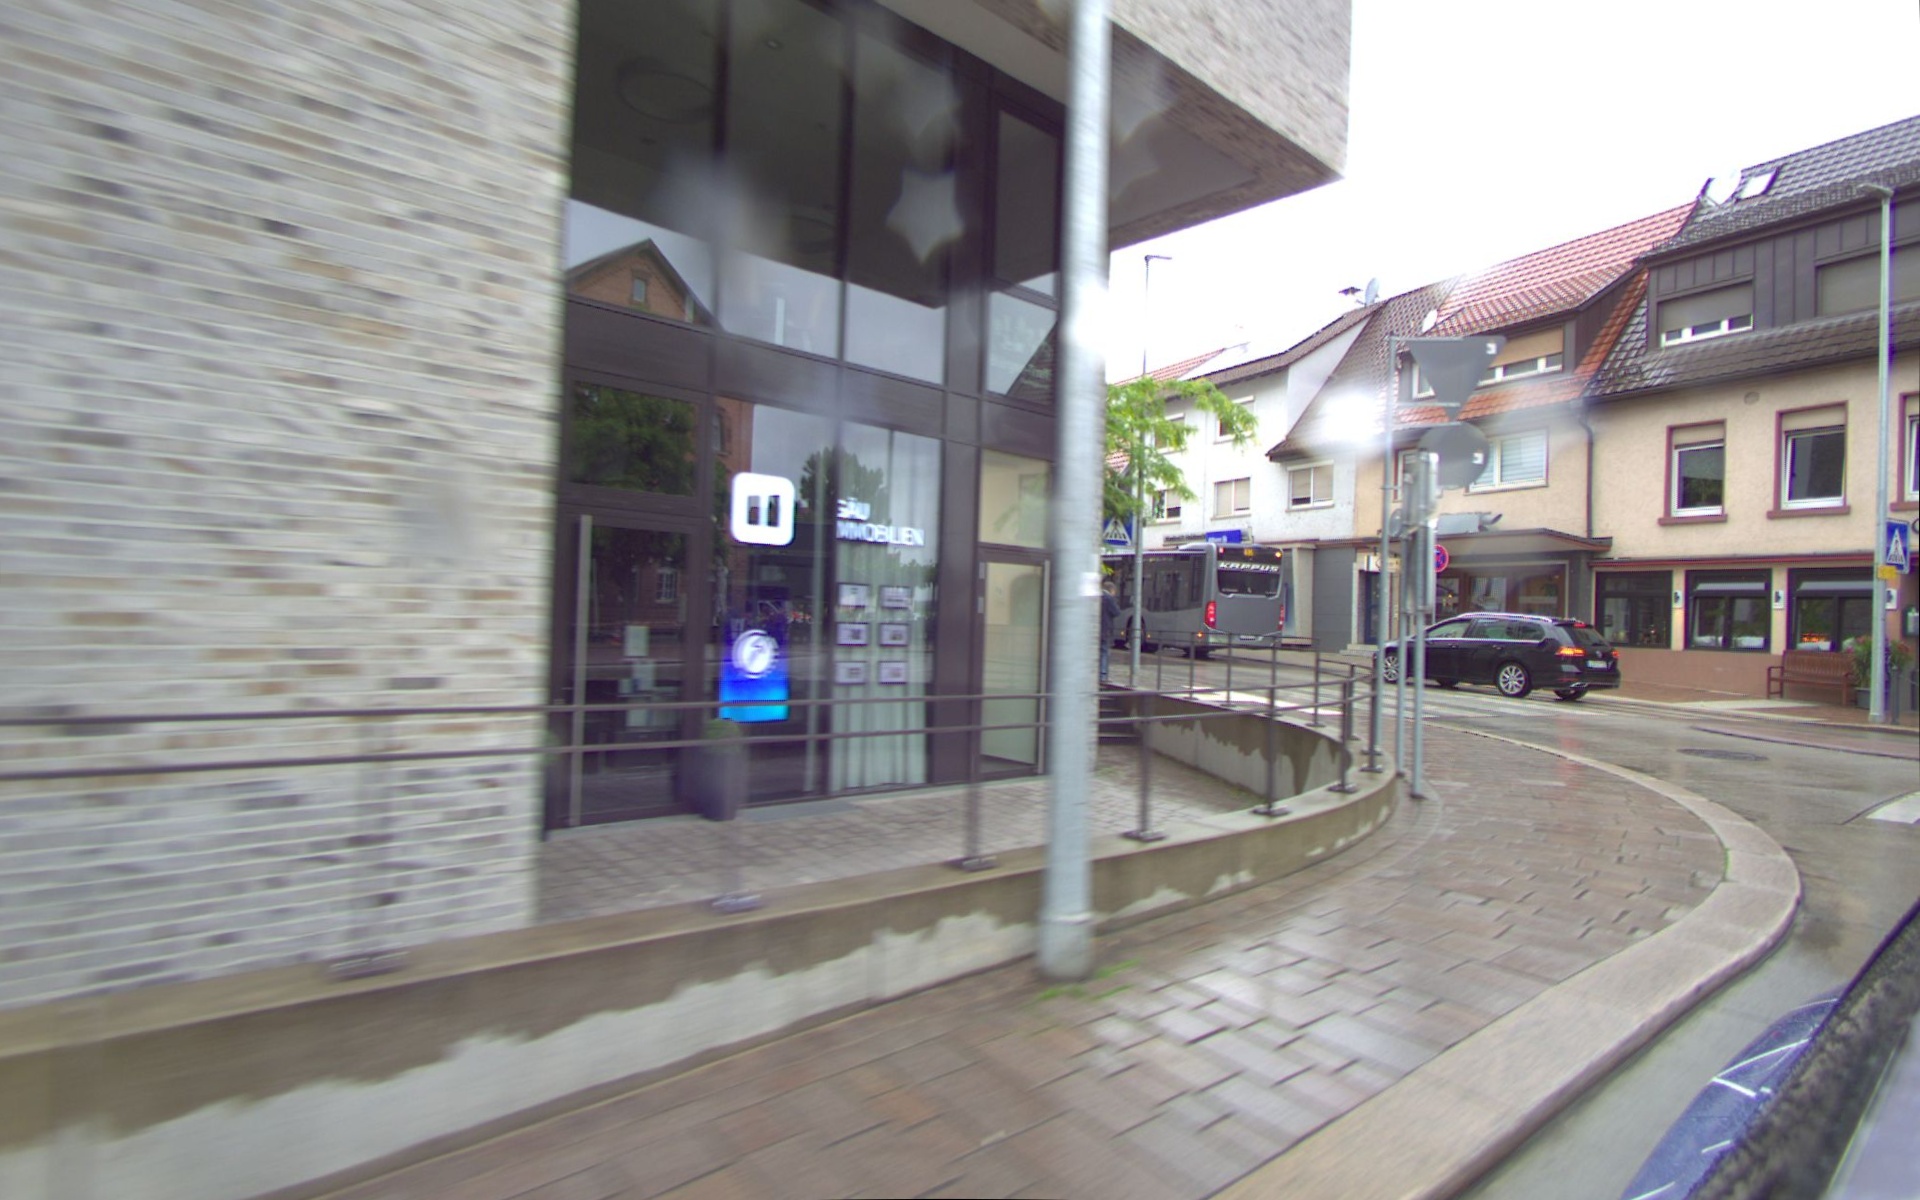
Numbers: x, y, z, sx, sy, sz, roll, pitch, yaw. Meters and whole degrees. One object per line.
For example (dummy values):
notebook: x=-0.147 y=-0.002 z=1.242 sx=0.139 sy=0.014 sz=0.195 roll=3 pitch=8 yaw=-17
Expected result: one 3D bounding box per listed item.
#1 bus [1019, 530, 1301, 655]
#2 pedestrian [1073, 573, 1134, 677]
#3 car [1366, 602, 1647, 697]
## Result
bus: x=5.464 y=-0.299 z=30.882 sx=2.675 sy=3.118 sz=10.969 roll=2 pitch=1 yaw=-23
pedestrian: x=2.324 y=0.396 z=16.461 sx=0.572 sy=1.626 sz=0.704 roll=4 pitch=-1 yaw=-30
car: x=9.910 y=0.837 z=18.783 sx=1.635 sy=1.449 sz=4.477 roll=3 pitch=-1 yaw=-24
